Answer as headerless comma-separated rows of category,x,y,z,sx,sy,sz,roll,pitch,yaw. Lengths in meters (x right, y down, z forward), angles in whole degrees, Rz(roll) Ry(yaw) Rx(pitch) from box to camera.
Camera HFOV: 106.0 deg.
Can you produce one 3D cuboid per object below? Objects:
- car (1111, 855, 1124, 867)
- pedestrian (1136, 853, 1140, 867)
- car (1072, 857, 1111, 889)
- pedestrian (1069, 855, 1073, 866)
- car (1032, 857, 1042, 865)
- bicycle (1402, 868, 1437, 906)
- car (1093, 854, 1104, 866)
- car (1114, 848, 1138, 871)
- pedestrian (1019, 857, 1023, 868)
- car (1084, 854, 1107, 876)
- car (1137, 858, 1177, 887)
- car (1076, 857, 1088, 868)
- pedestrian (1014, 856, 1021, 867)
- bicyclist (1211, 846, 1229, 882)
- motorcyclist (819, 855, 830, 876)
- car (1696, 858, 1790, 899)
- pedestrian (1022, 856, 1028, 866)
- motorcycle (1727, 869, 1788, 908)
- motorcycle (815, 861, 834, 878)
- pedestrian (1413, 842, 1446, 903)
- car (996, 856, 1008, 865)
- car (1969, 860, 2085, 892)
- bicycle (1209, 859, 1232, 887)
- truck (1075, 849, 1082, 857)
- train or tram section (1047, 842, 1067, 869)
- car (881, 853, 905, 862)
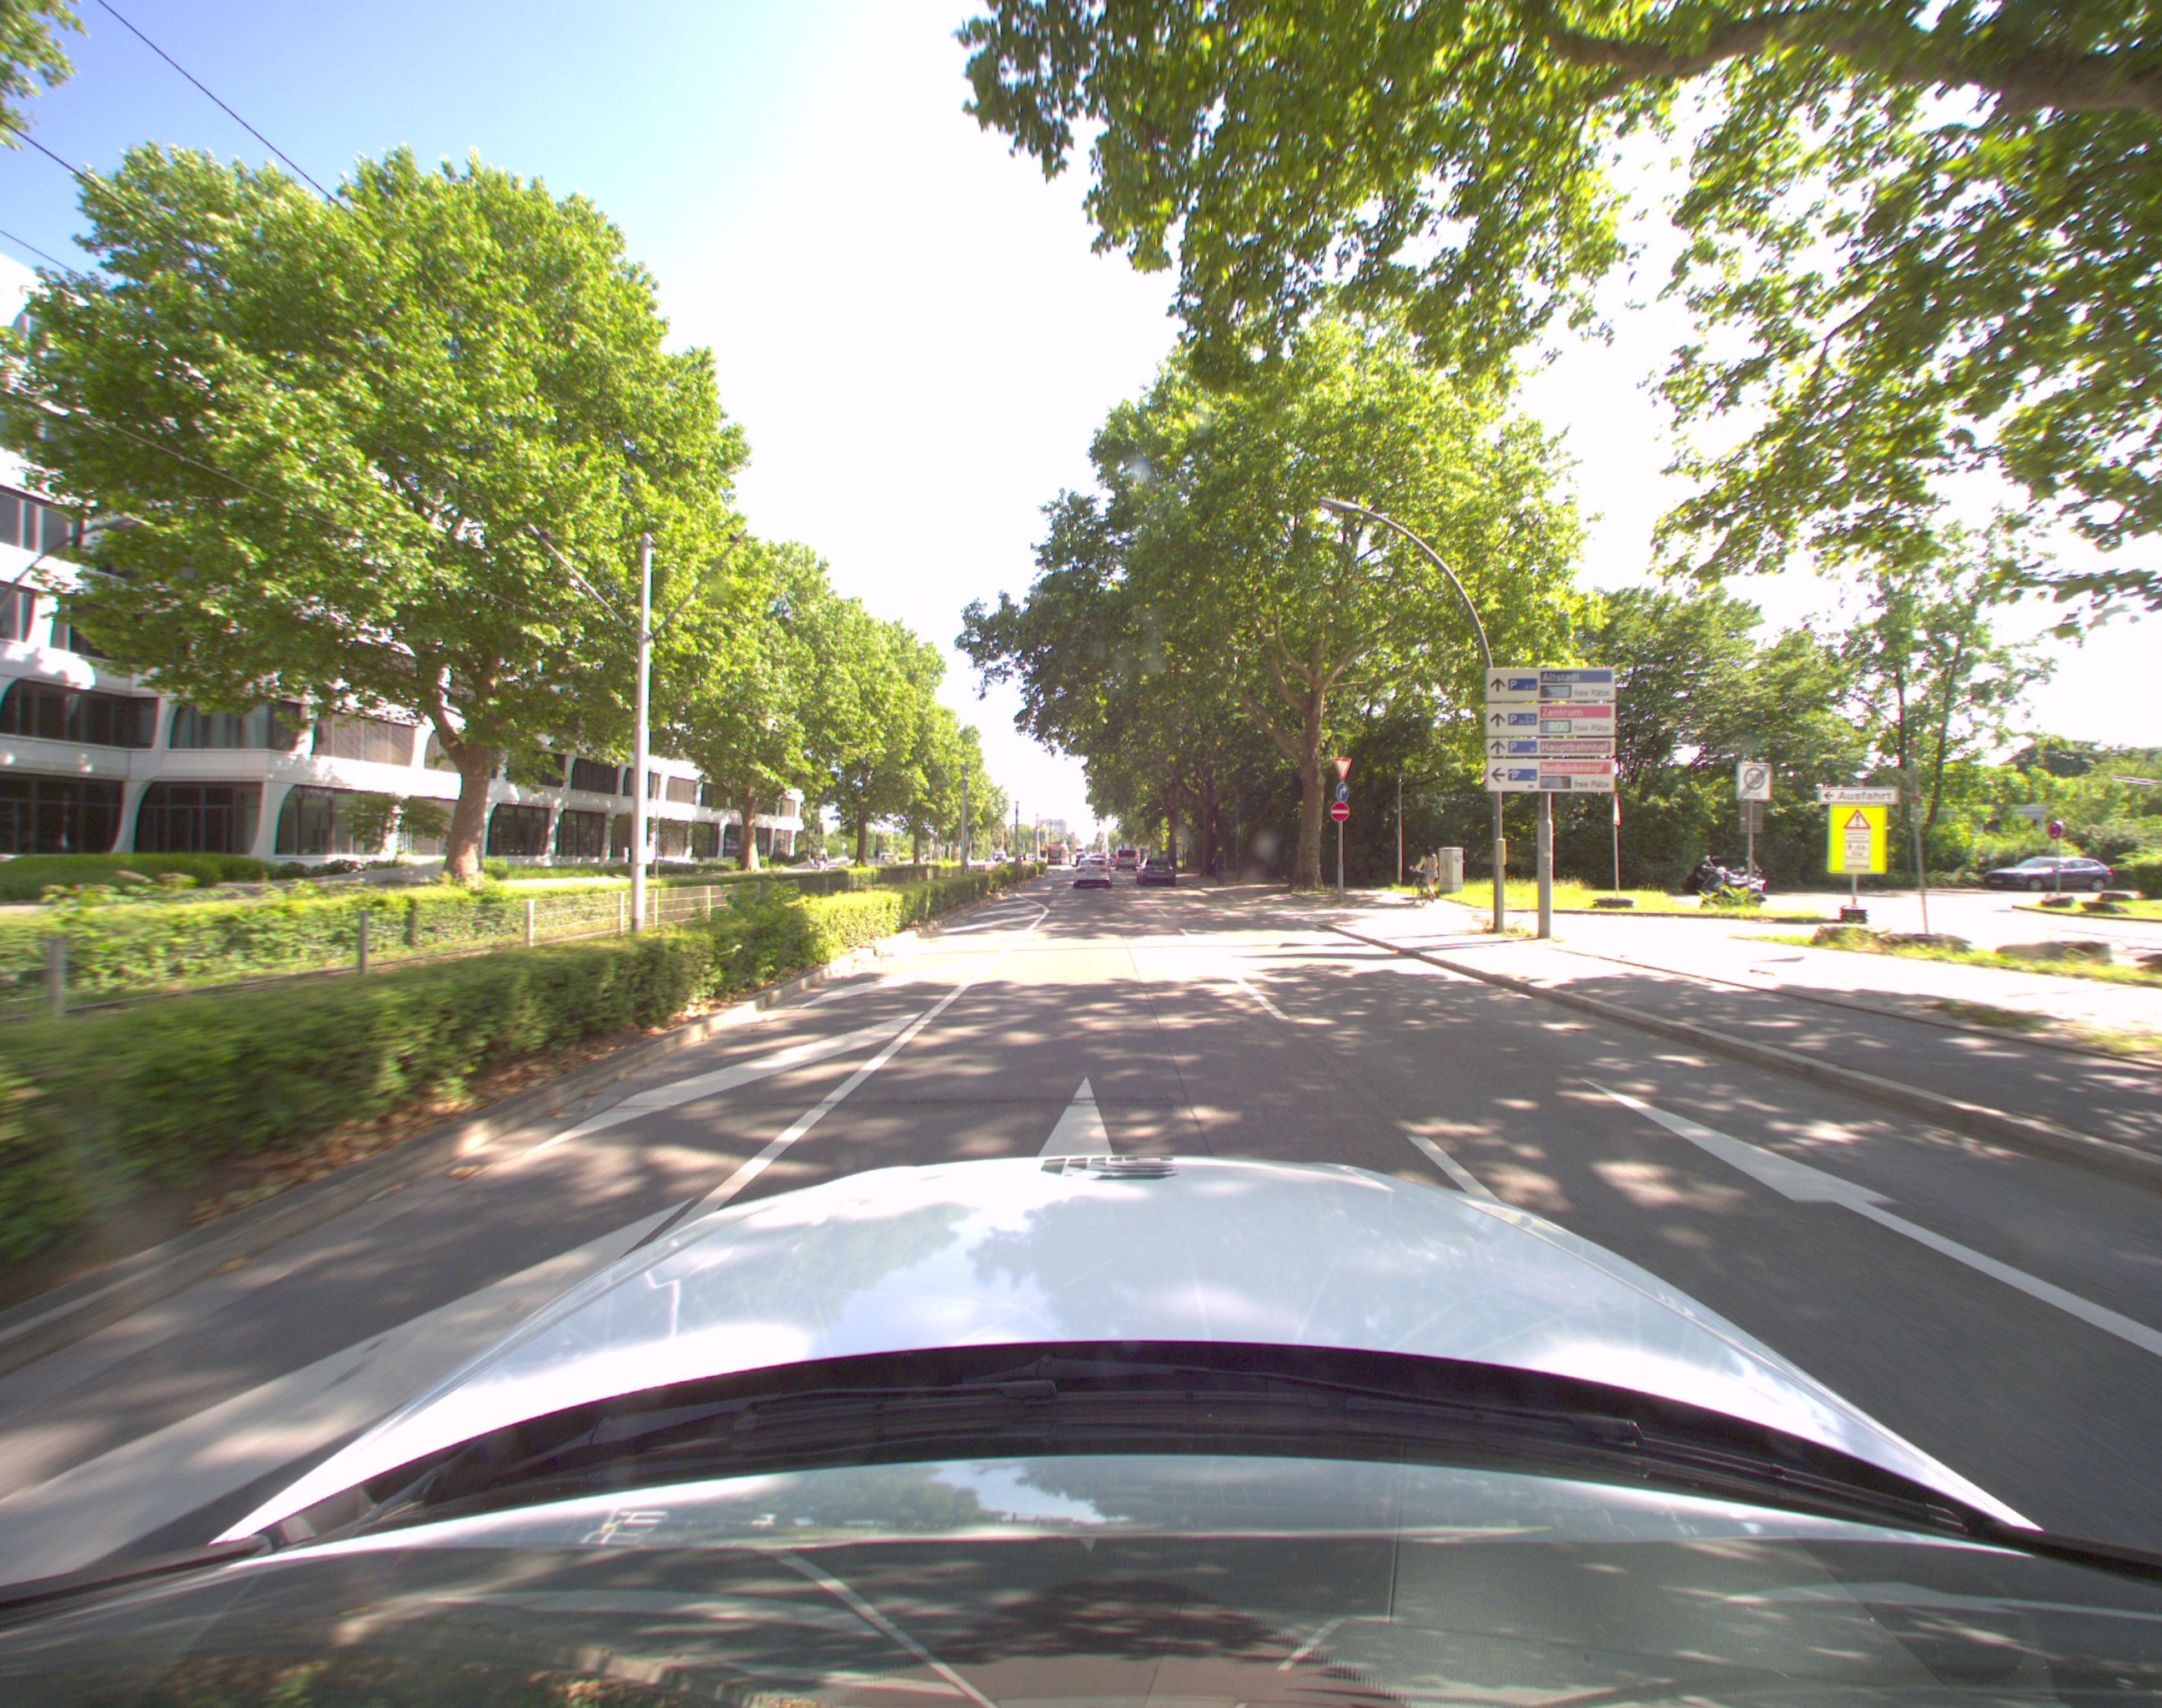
car,5.990,1.141,133.609,2.064,1.999,4.059,1,0,1
pedestrian,7.768,0.793,111.005,0.633,1.946,0.719,1,-1,1
car,0.538,0.887,39.019,1.778,1.420,3.886,1,0,1
pedestrian,-1.704,1.058,139.791,0.621,1.918,0.690,1,-1,1
car,-9.658,1.530,179.689,1.986,1.734,4.001,1,0,2
bicycle,10.025,0.966,24.179,0.348,1.082,1.699,1,0,1
car,2.824,1.046,132.911,1.723,1.901,4.001,1,0,1
car,4.548,0.555,82.921,2.222,2.212,4.163,1,0,1
pedestrian,-9.107,1.232,123.142,0.590,1.646,0.554,1,-1,1
car,1.124,0.847,63.627,1.723,1.605,3.886,1,0,1
car,3.918,0.940,42.440,1.776,1.420,4.001,1,0,1
car,0.208,1.326,129.577,1.723,1.631,4.001,1,0,1
pedestrian,-9.377,1.143,120.490,0.761,1.623,0.590,1,-1,-24
bicyclist,6.572,0.459,38.562,0.632,1.648,0.979,-2,1,0
motorcyclist,-17.913,0.796,56.901,0.579,1.457,0.533,0,0,1
car,25.305,0.908,31.085,4.015,1.454,1.666,0,0,-33
pedestrian,-8.915,1.117,129.874,0.770,1.734,0.756,0,-1,10
motorcycle,17.093,0.863,20.575,1.217,0.967,0.470,0,0,-6
motorcycle,-17.929,1.078,56.921,0.630,1.175,2.000,0,0,1
pedestrian,10.427,0.538,24.373,0.630,1.785,0.874,1,-1,1
car,-15.794,1.290,163.528,1.823,1.624,4.897,0,0,1
car,43.875,1.002,37.804,3.985,1.454,1.679,0,0,-9
bicycle,6.590,0.884,38.591,0.712,1.148,2.178,-2,2,0
truck,-0.759,-0.290,260.988,1.986,2.790,8.521,1,0,2
train or tram section,-3.664,0.217,127.713,2.607,4.015,7.752,1,0,2
car,-34.829,0.696,150.846,3.833,1.549,1.770,1,0,1
